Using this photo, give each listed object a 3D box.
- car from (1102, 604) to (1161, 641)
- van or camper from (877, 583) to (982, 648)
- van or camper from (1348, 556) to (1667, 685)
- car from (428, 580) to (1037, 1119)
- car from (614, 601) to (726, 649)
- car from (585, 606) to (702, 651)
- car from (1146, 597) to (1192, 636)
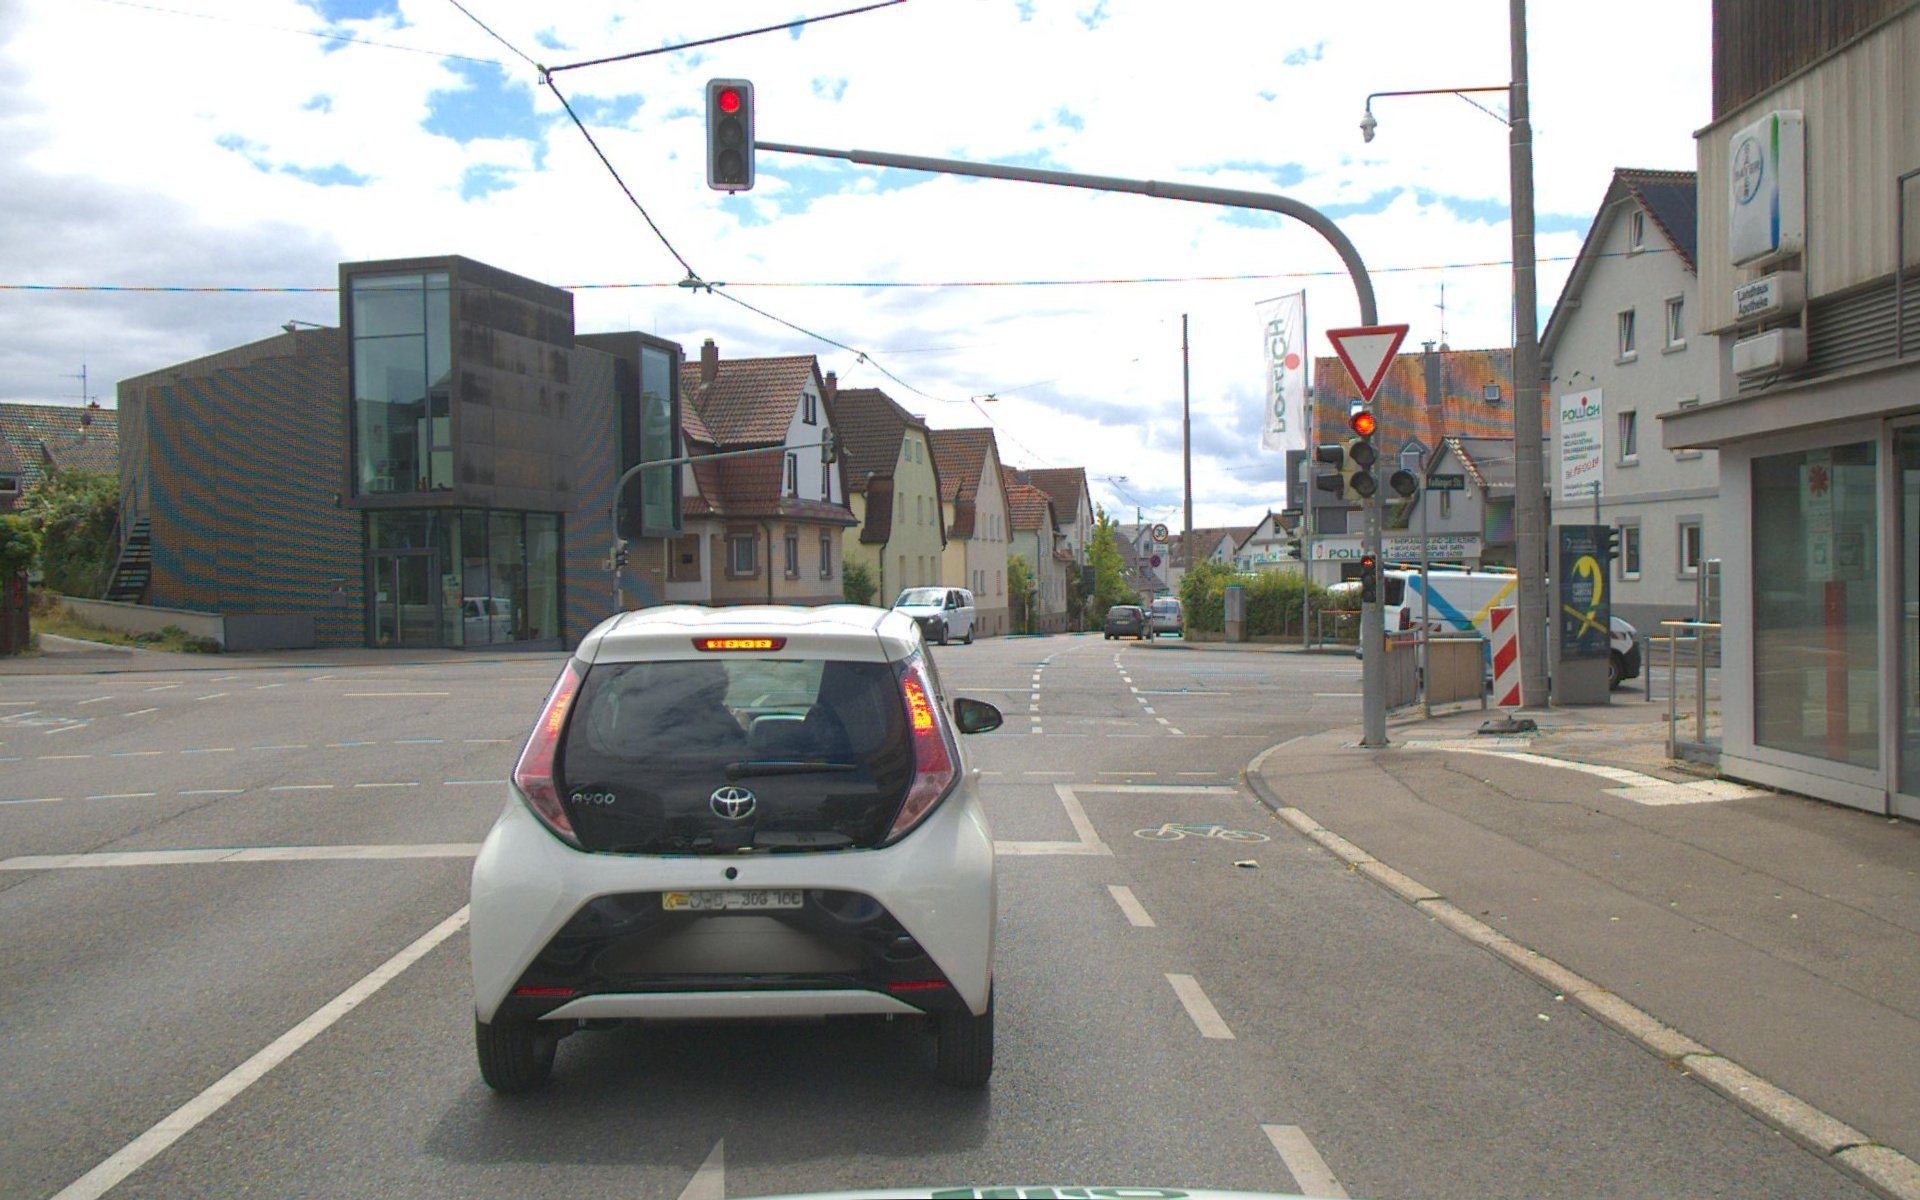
[{"bbox_3d":[7.493,0.960,71.995,1.951,1.512,4.003,1,0,15],"label":"car"},{"bbox_3d":[-0.920,0.483,53.689,2.070,1.959,5.289,1,0,14],"label":"van or camper"},{"bbox_3d":[9.649,0.363,29.325,5.024,2.113,1.995,1,0,-10],"label":"van or camper"},{"bbox_3d":[-0.697,0.693,6.243,1.663,1.482,3.297,1,0,-3],"label":"car"},{"bbox_3d":[-10.276,0.876,58.719,3.537,1.633,1.693,1,0,11],"label":"car"},{"bbox_3d":[-10.815,0.965,56.587,3.537,1.444,1.693,1,0,11],"label":"car"},{"bbox_3d":[10.619,0.809,83.948,1.951,1.881,4.076,1,0,12],"label":"car"}]
